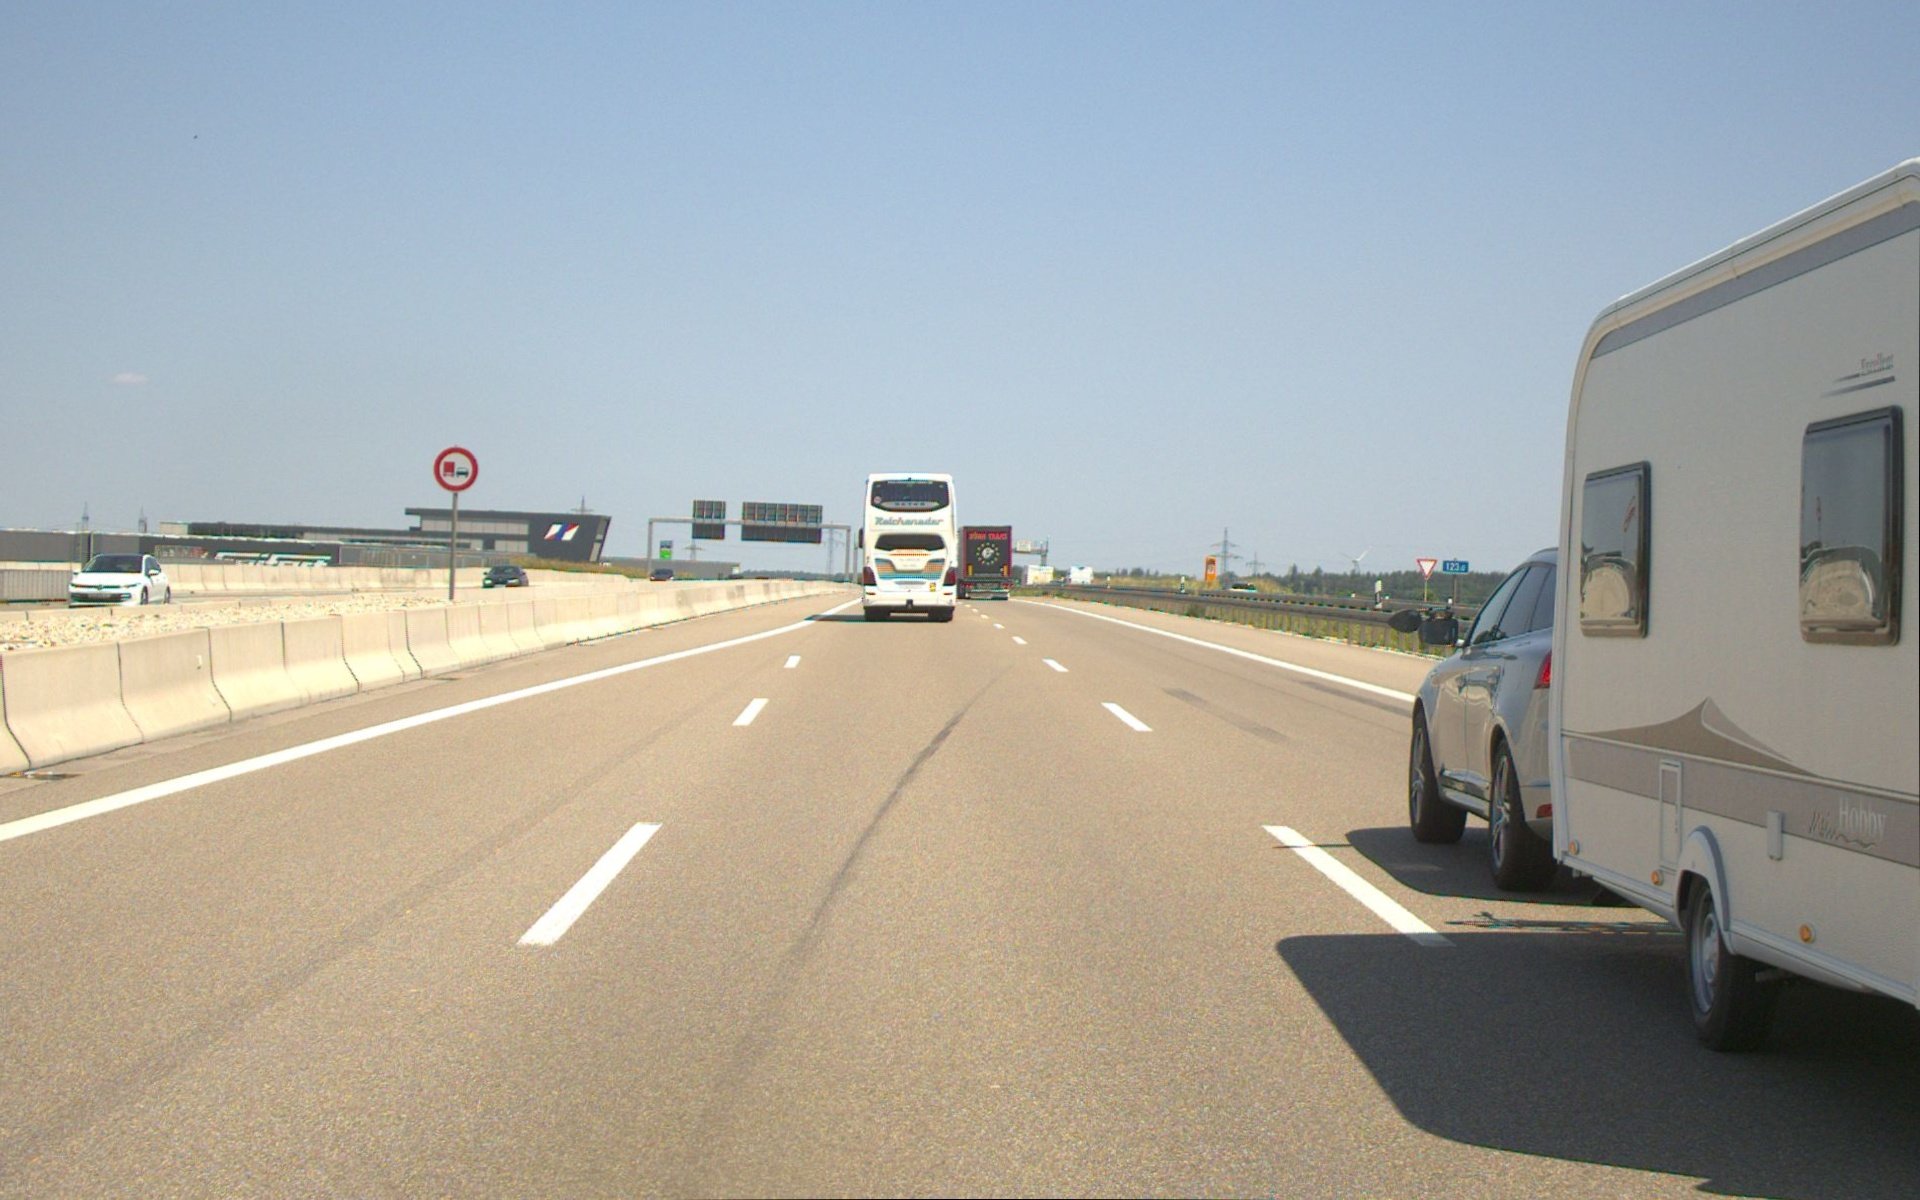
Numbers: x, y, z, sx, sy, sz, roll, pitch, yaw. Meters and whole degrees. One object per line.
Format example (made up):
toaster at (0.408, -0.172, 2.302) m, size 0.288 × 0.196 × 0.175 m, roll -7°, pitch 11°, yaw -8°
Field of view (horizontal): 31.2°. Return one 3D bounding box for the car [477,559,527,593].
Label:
car at (-21.303, -1.120, 159.987) m, size 1.732 × 1.531 × 4.549 m, roll 1°, pitch 1°, yaw -1°

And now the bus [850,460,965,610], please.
bus at (-1.556, -1.816, 96.751) m, size 2.980 × 3.961 × 9.106 m, roll 1°, pitch 1°, yaw -2°

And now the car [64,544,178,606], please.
car at (-20.285, -0.610, 83.267) m, size 1.809 × 1.430 × 4.442 m, roll 1°, pitch 1°, yaw -2°

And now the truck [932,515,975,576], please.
truck at (-0.404, -3.456, 218.489) m, size 2.437 × 3.776 × 6.494 m, roll 1°, pitch 1°, yaw -2°

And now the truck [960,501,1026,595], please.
truck at (1.825, -2.784, 190.102) m, size 3.379 × 4.449 × 13.565 m, roll 2°, pitch -2°, yaw 1°

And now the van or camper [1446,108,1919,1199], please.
van or camper at (3.466, 0.099, 11.223) m, size 2.512 × 2.584 × 7.818 m, roll 1°, pitch 1°, yaw -1°

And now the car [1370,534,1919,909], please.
car at (3.370, 0.504, 17.548) m, size 1.880 × 1.617 × 4.904 m, roll 1°, pitch 1°, yaw -1°

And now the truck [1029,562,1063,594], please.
truck at (5.600, -1.467, 224.547) m, size 1.993 × 2.007 × 4.000 m, roll 1°, pitch 1°, yaw -1°
